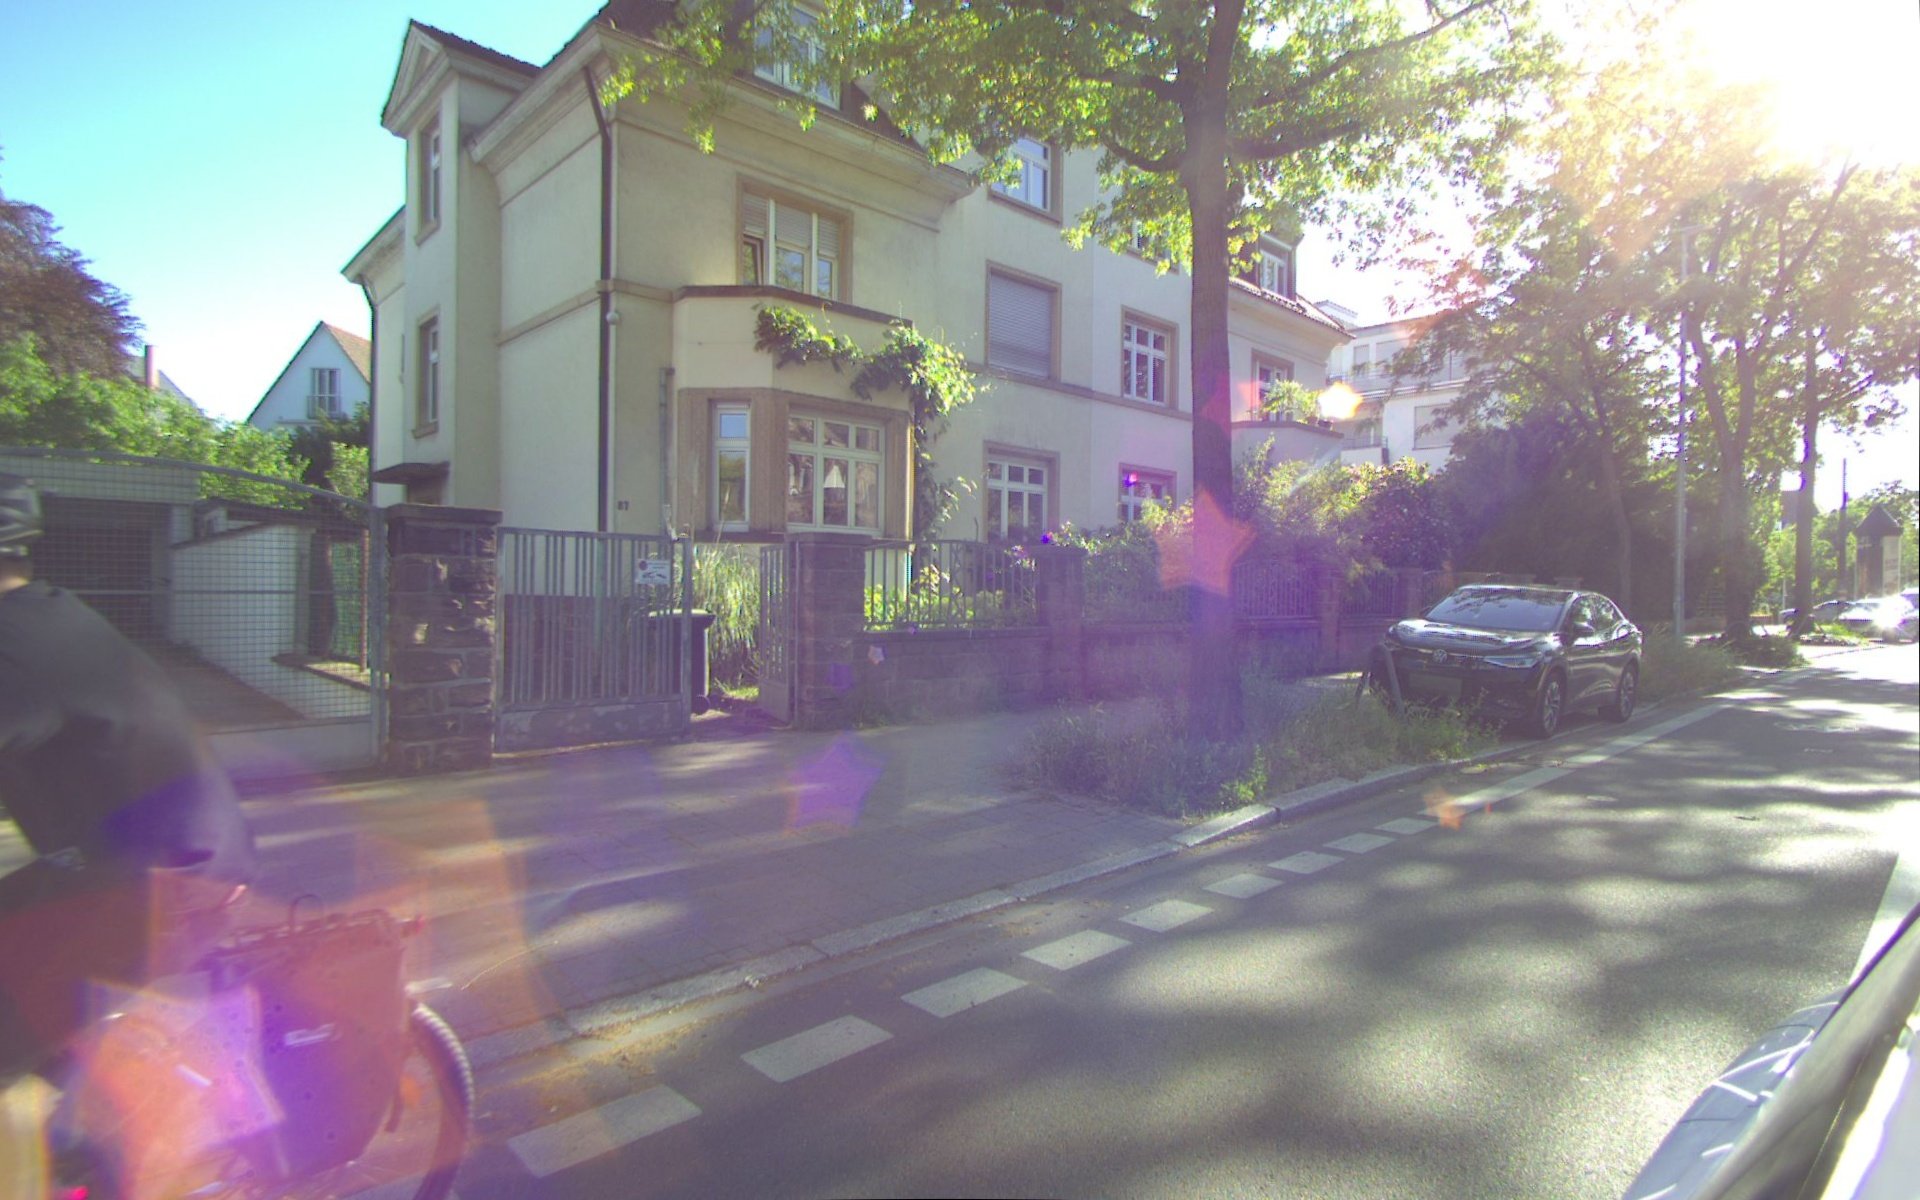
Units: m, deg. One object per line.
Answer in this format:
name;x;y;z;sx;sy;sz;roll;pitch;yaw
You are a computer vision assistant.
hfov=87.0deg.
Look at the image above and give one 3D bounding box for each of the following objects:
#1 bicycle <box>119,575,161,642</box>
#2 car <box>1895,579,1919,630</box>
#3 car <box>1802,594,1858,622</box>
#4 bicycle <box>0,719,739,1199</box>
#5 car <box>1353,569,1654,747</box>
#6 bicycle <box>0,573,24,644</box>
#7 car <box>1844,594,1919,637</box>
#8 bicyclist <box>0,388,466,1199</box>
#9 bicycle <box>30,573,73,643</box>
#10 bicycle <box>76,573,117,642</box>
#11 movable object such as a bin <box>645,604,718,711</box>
bicycle;-14.360;0.135;17.713;0.512;1.136;1.464;0;0;-41
car;36.667;0.161;37.817;4.171;1.852;1.904;-1;0;-38
car;46.974;0.399;54.617;3.930;1.460;1.739;-1;0;-41
bicycle;-1.500;0.907;1.697;2.057;1.169;0.831;-1;-1;-39
car;6.633;0.550;12.157;4.101;1.765;1.995;-1;0;-43
bicycle;-15.767;0.132;16.641;0.512;1.136;1.464;0;0;-41
car;31.481;0.482;34.247;3.847;1.356;1.719;-1;0;-39
bicyclist;-1.446;0.475;1.741;0.917;1.520;0.823;0;0;-39
bicycle;-15.269;0.125;17.023;0.512;1.136;1.464;0;0;-41
bicycle;-14.844;0.120;17.392;0.512;1.136;1.464;0;0;-41
movable object such as a bin;-2.979;0.585;10.805;0.712;1.068;0.969;0;0;-17
